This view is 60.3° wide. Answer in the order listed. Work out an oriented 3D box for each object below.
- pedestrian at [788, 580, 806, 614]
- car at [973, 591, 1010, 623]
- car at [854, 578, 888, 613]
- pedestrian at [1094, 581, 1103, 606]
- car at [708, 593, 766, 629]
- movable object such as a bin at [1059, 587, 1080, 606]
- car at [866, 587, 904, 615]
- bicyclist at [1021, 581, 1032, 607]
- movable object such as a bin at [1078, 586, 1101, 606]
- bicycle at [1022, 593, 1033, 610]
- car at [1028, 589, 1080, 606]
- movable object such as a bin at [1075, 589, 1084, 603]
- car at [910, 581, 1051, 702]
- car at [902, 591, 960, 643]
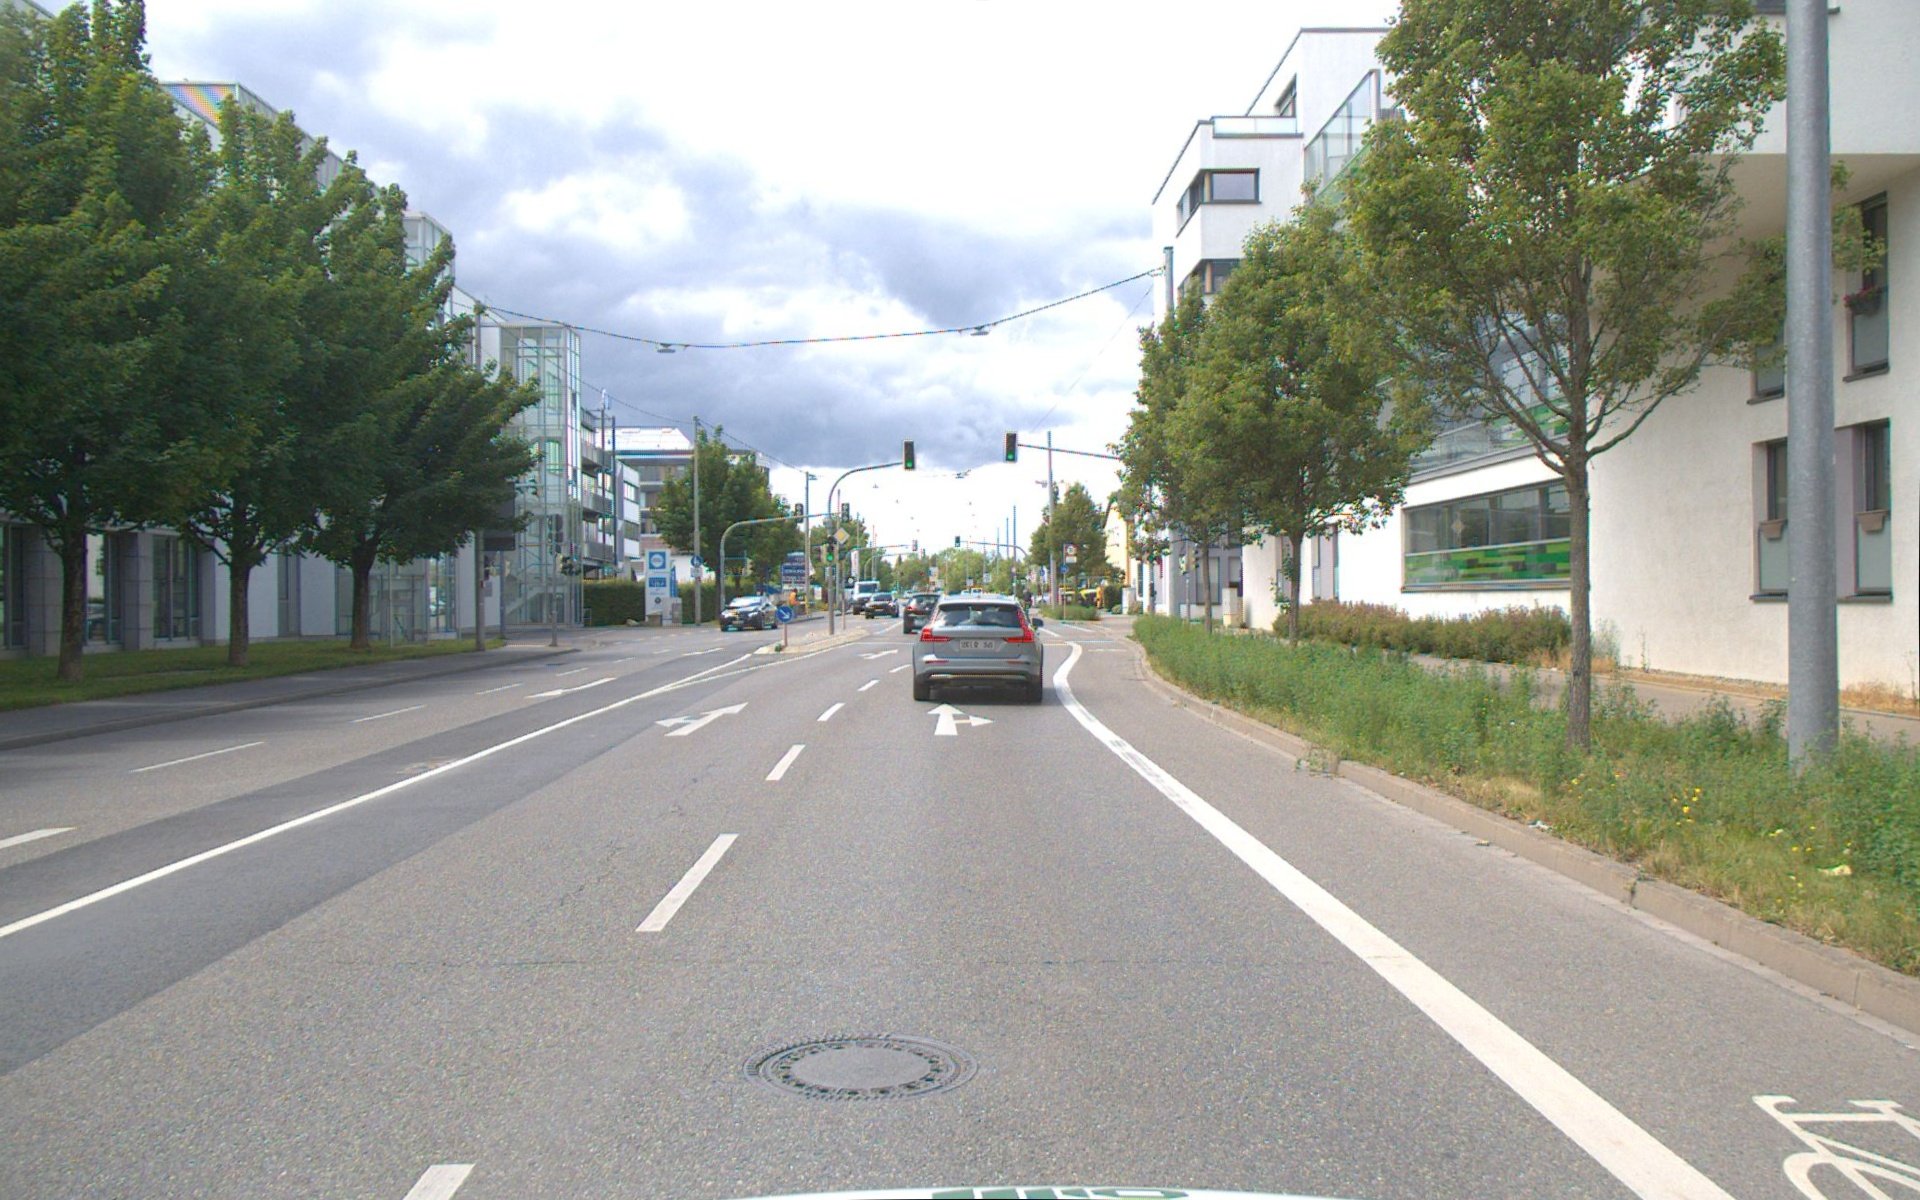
[{"bbox_3d":[-10.058,-0.200,102.160,0.713,2.049,0.805,1,-1,43],"label":"pedestrian"},{"bbox_3d":[1.772,0.423,94.946,1.953,1.724,3.999,2,-1,-1],"label":"car"},{"bbox_3d":[-6.731,-0.335,125.530,2.098,2.515,6.073,-2,0,1],"label":"car"},{"bbox_3d":[10.103,-0.492,120.510,0.496,1.796,0.501,1,-1,17],"label":"pedestrian"},{"bbox_3d":[-9.945,0.475,74.066,1.983,1.470,5.048,-2,0,-2],"label":"car"},{"bbox_3d":[8.087,-0.276,122.195,1.291,1.385,1.252,-1,-1,16],"label":"movable object such as a bin"},{"bbox_3d":[-4.507,0.084,100.316,1.846,1.579,4.541,-2,-1,3],"label":"car"},{"bbox_3d":[4.510,-0.386,112.083,0.625,1.704,0.890,-4,0,0],"label":"bicyclist"},{"bbox_3d":[9.599,-0.282,122.510,1.297,1.460,1.246,-1,-1,37],"label":"movable object such as a bin"},{"bbox_3d":[4.543,0.109,112.094,0.625,1.081,1.977,-4,0,1],"label":"bicycle"},{"bbox_3d":[8.605,-0.243,151.247,4.600,1.519,2.045,0,1,-1],"label":"car"},{"bbox_3d":[8.908,-0.295,123.095,0.557,1.044,0.404,-1,-2,37],"label":"movable object such as a bin"},{"bbox_3d":[0.342,0.581,24.248,1.856,1.581,4.001,1,-1,2],"label":"car"},{"bbox_3d":[-1.066,0.593,59.318,1.953,1.747,3.998,2,-1,-2],"label":"car"}]
